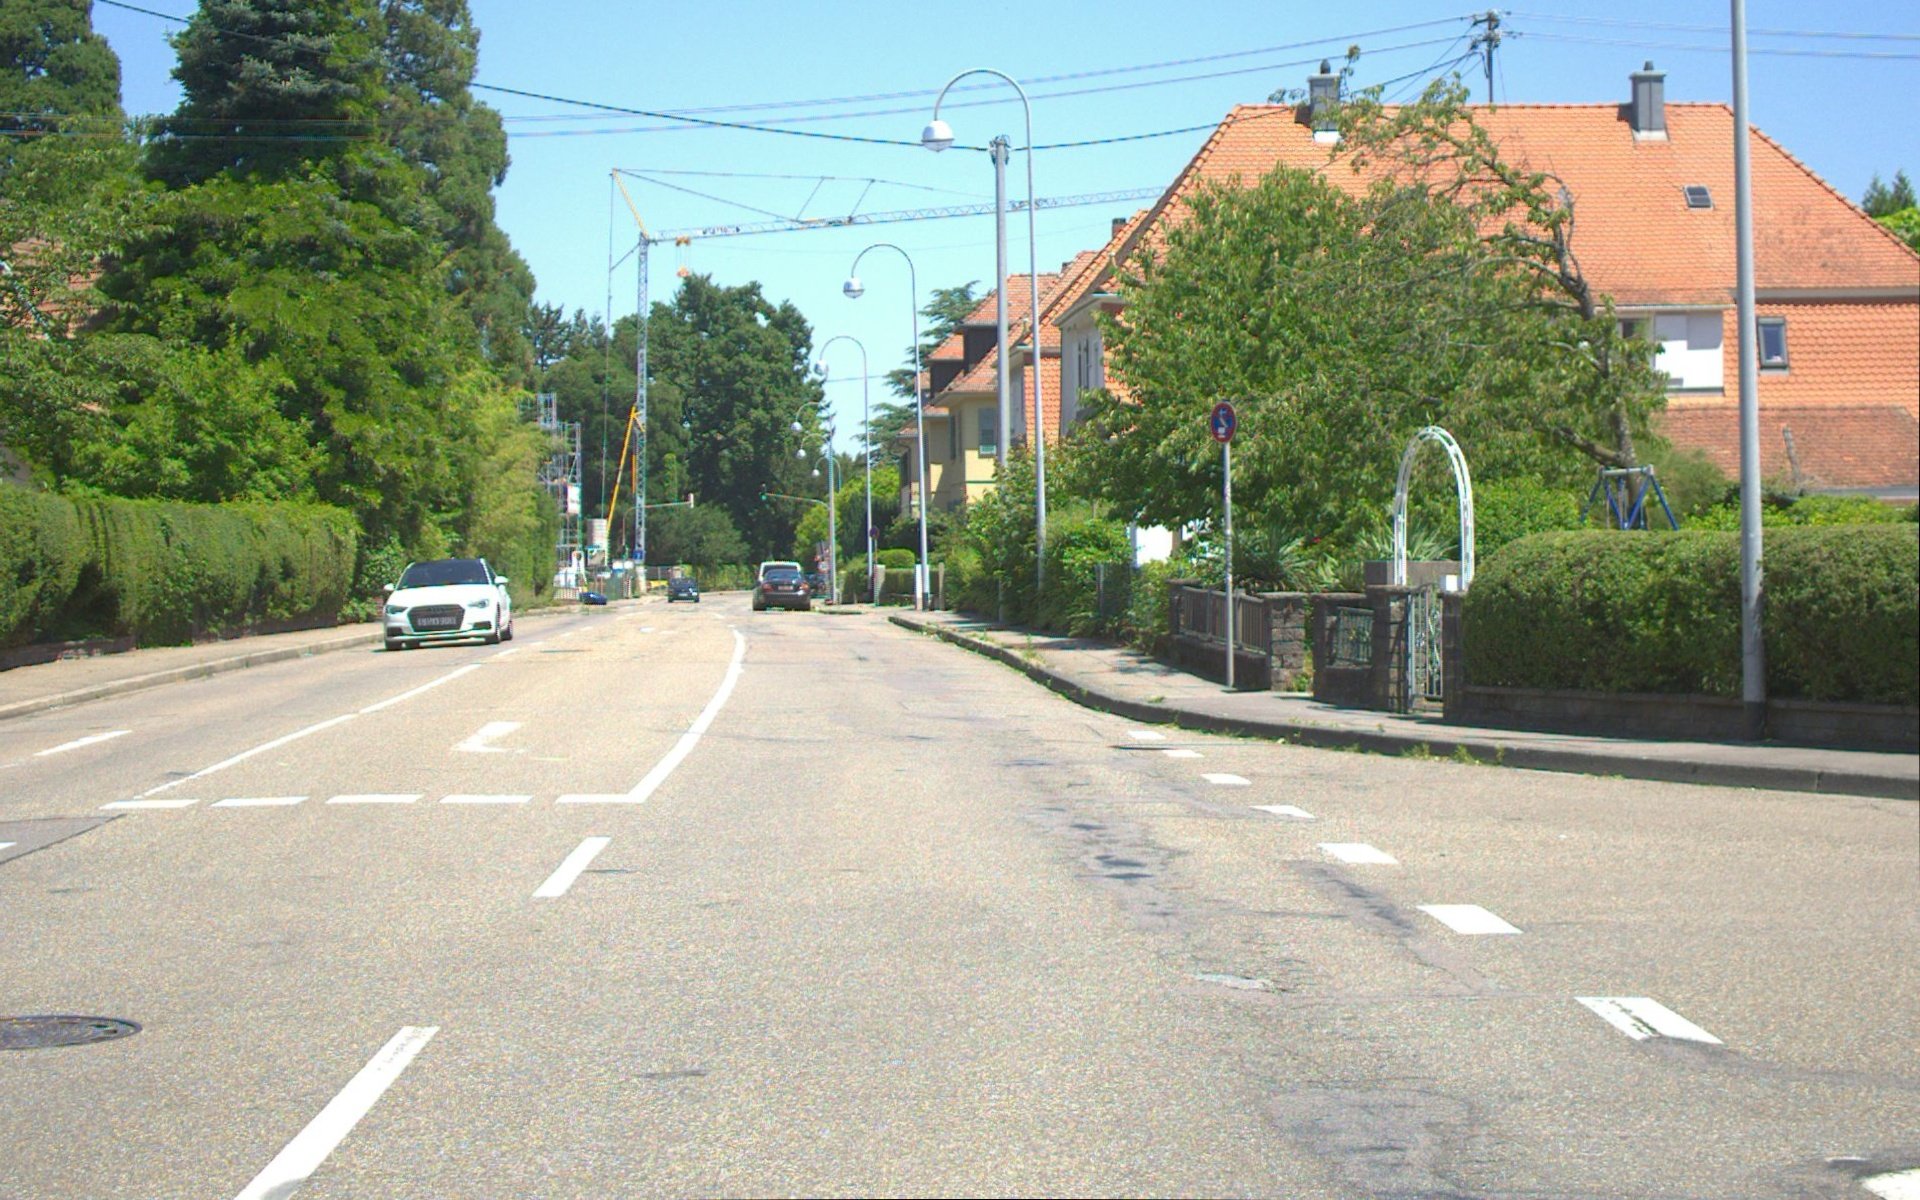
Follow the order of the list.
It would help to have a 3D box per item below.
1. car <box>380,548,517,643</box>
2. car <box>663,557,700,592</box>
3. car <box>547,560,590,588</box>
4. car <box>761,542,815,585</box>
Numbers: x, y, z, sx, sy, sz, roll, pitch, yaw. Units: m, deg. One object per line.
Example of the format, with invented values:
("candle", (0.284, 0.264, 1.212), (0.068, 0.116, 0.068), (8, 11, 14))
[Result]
("car", (-8.108, -0.100, 54.815), (1.680, 1.367, 4.207), (-2, 1, -2))
("car", (-16.427, -1.528, 202.969), (1.993, 1.844, 4.712), (0, 3, -3))
("car", (-19.973, -1.332, 175.516), (1.660, 1.384, 3.534), (-1, 0, 2))
("car", (-5.868, -1.231, 117.067), (1.692, 1.414, 4.551), (0, 0, -5))
